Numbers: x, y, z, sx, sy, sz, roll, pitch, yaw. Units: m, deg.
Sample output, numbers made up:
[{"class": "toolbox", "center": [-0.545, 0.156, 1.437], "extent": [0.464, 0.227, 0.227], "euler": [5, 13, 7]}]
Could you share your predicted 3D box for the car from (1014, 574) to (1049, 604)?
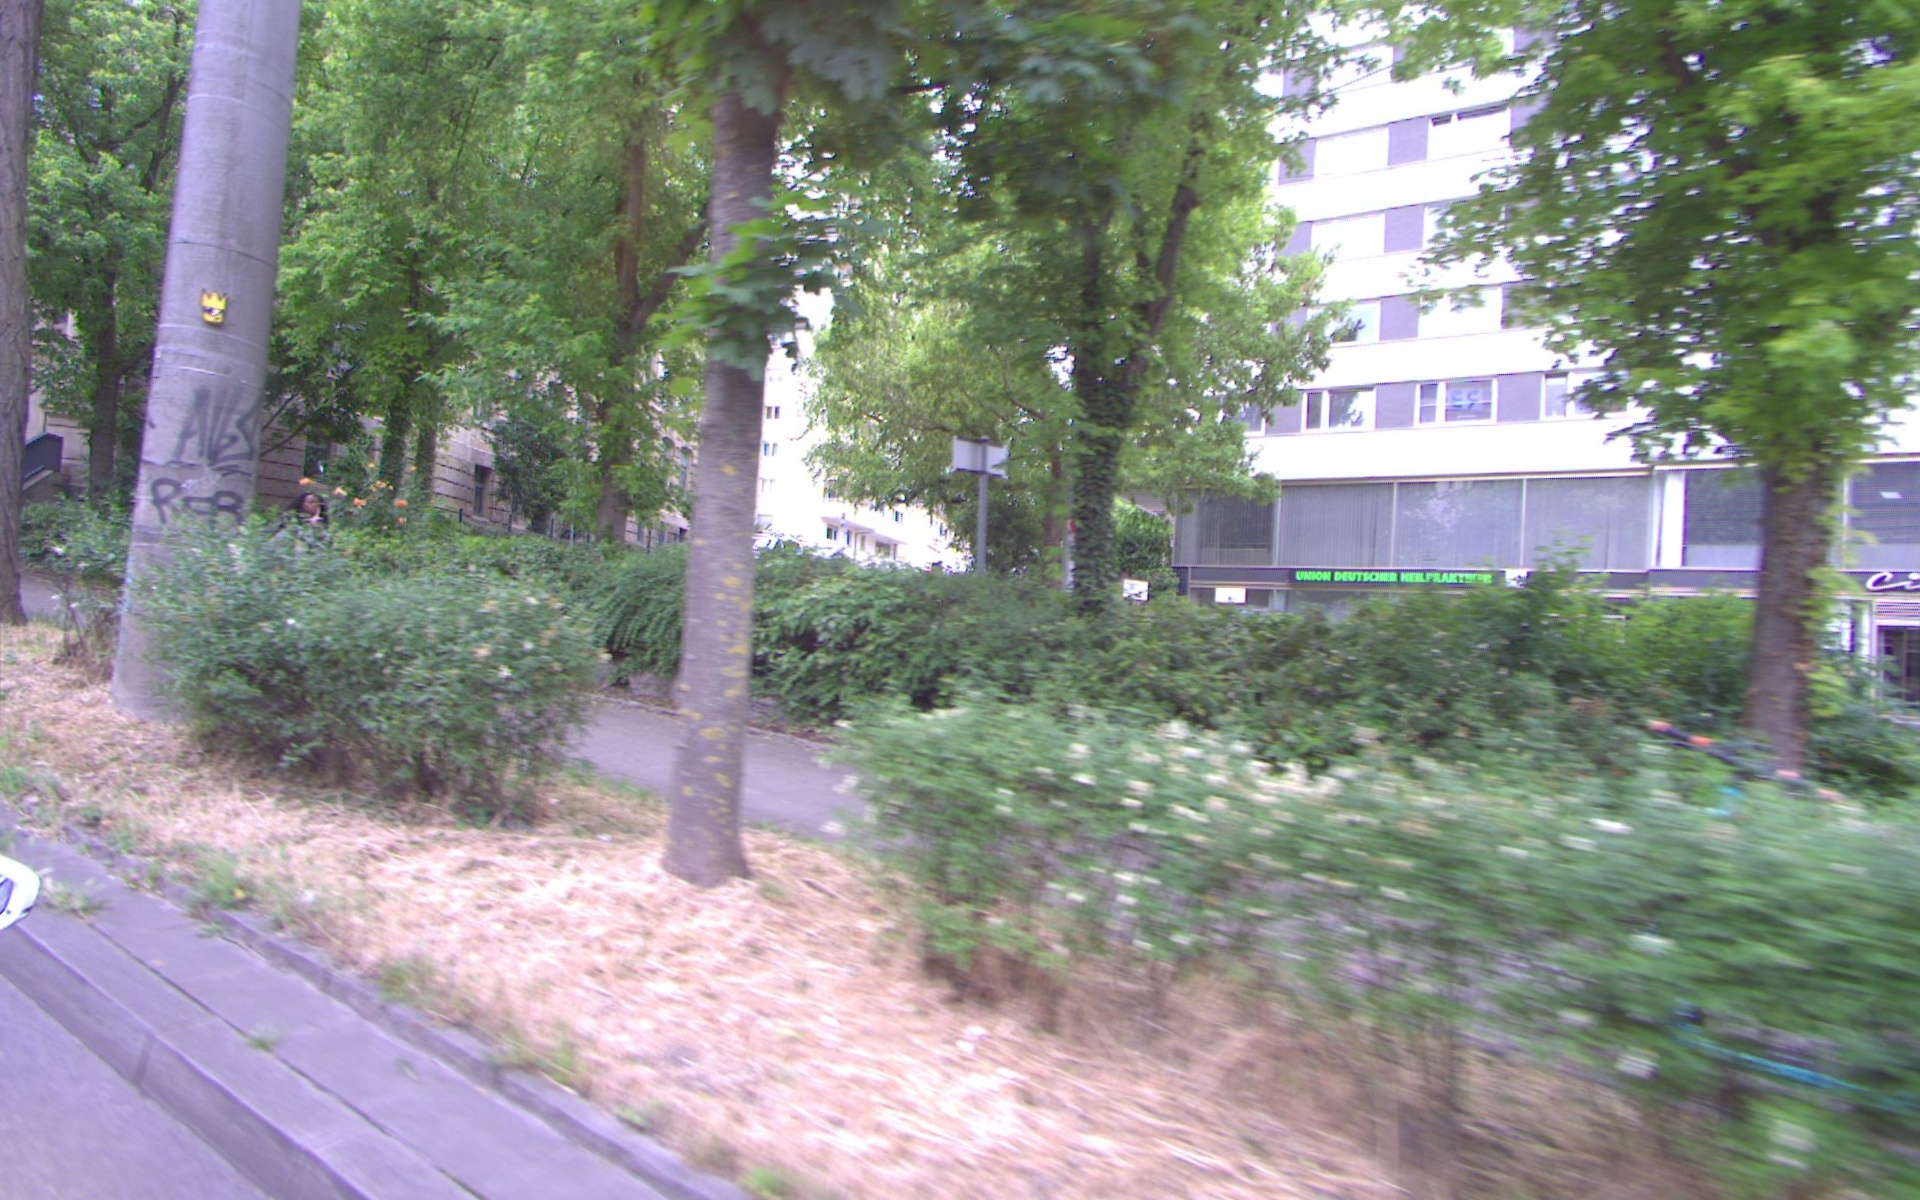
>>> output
[{"class": "car", "center": [5.022, -0.738, 69.953], "extent": [1.962, 1.777, 4.888], "euler": [6, 1, 7]}]

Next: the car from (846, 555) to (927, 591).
[{"class": "car", "center": [-4.760, -1.733, 65.427], "extent": [4.796, 1.756, 2.001], "euler": [7, 0, 8]}]

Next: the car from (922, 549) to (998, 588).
[{"class": "car", "center": [0.014, -2.708, 87.342], "extent": [6.080, 2.670, 2.001], "euler": [7, 1, 10]}]

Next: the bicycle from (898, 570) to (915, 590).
[{"class": "bicycle", "center": [-3.308, -1.230, 62.522], "extent": [0.597, 1.057, 2.069], "euler": [7, -2, 7]}]

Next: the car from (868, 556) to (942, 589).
[{"class": "car", "center": [-3.876, -1.923, 71.507], "extent": [4.796, 1.756, 2.001], "euler": [7, 0, 8]}]

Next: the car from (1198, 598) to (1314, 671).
[{"class": "car", "center": [7.772, 0.882, 26.185], "extent": [1.802, 1.592, 3.988], "euler": [7, 2, 31]}]

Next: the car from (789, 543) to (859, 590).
[{"class": "car", "center": [-6.858, -1.660, 51.202], "extent": [1.962, 1.775, 4.895], "euler": [6, -2, 10]}]

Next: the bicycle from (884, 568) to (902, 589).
[{"class": "bicycle", "center": [-4.158, -1.352, 62.456], "extent": [0.597, 1.057, 2.069], "euler": [7, -2, 7]}]

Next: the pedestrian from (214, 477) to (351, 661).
[{"class": "pedestrian", "center": [-6.831, -0.300, 10.155], "extent": [0.772, 1.724, 0.772], "euler": [7, 0, 33]}]

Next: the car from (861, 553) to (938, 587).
[{"class": "car", "center": [-4.155, -2.058, 69.410], "extent": [4.796, 1.756, 2.001], "euler": [7, 0, 8]}]

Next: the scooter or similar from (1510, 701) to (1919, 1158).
[{"class": "scooter or similar", "center": [2.847, 1.067, 3.404], "extent": [1.528, 1.225, 0.632], "euler": [6, 0, 20]}]

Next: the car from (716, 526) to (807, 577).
[{"class": "car", "center": [-8.813, -2.119, 45.187], "extent": [2.136, 1.959, 5.215], "euler": [4, 1, 10]}]

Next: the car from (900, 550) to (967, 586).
[{"class": "car", "center": [-2.073, -2.493, 79.241], "extent": [4.796, 2.246, 2.001], "euler": [7, 0, 8]}]
